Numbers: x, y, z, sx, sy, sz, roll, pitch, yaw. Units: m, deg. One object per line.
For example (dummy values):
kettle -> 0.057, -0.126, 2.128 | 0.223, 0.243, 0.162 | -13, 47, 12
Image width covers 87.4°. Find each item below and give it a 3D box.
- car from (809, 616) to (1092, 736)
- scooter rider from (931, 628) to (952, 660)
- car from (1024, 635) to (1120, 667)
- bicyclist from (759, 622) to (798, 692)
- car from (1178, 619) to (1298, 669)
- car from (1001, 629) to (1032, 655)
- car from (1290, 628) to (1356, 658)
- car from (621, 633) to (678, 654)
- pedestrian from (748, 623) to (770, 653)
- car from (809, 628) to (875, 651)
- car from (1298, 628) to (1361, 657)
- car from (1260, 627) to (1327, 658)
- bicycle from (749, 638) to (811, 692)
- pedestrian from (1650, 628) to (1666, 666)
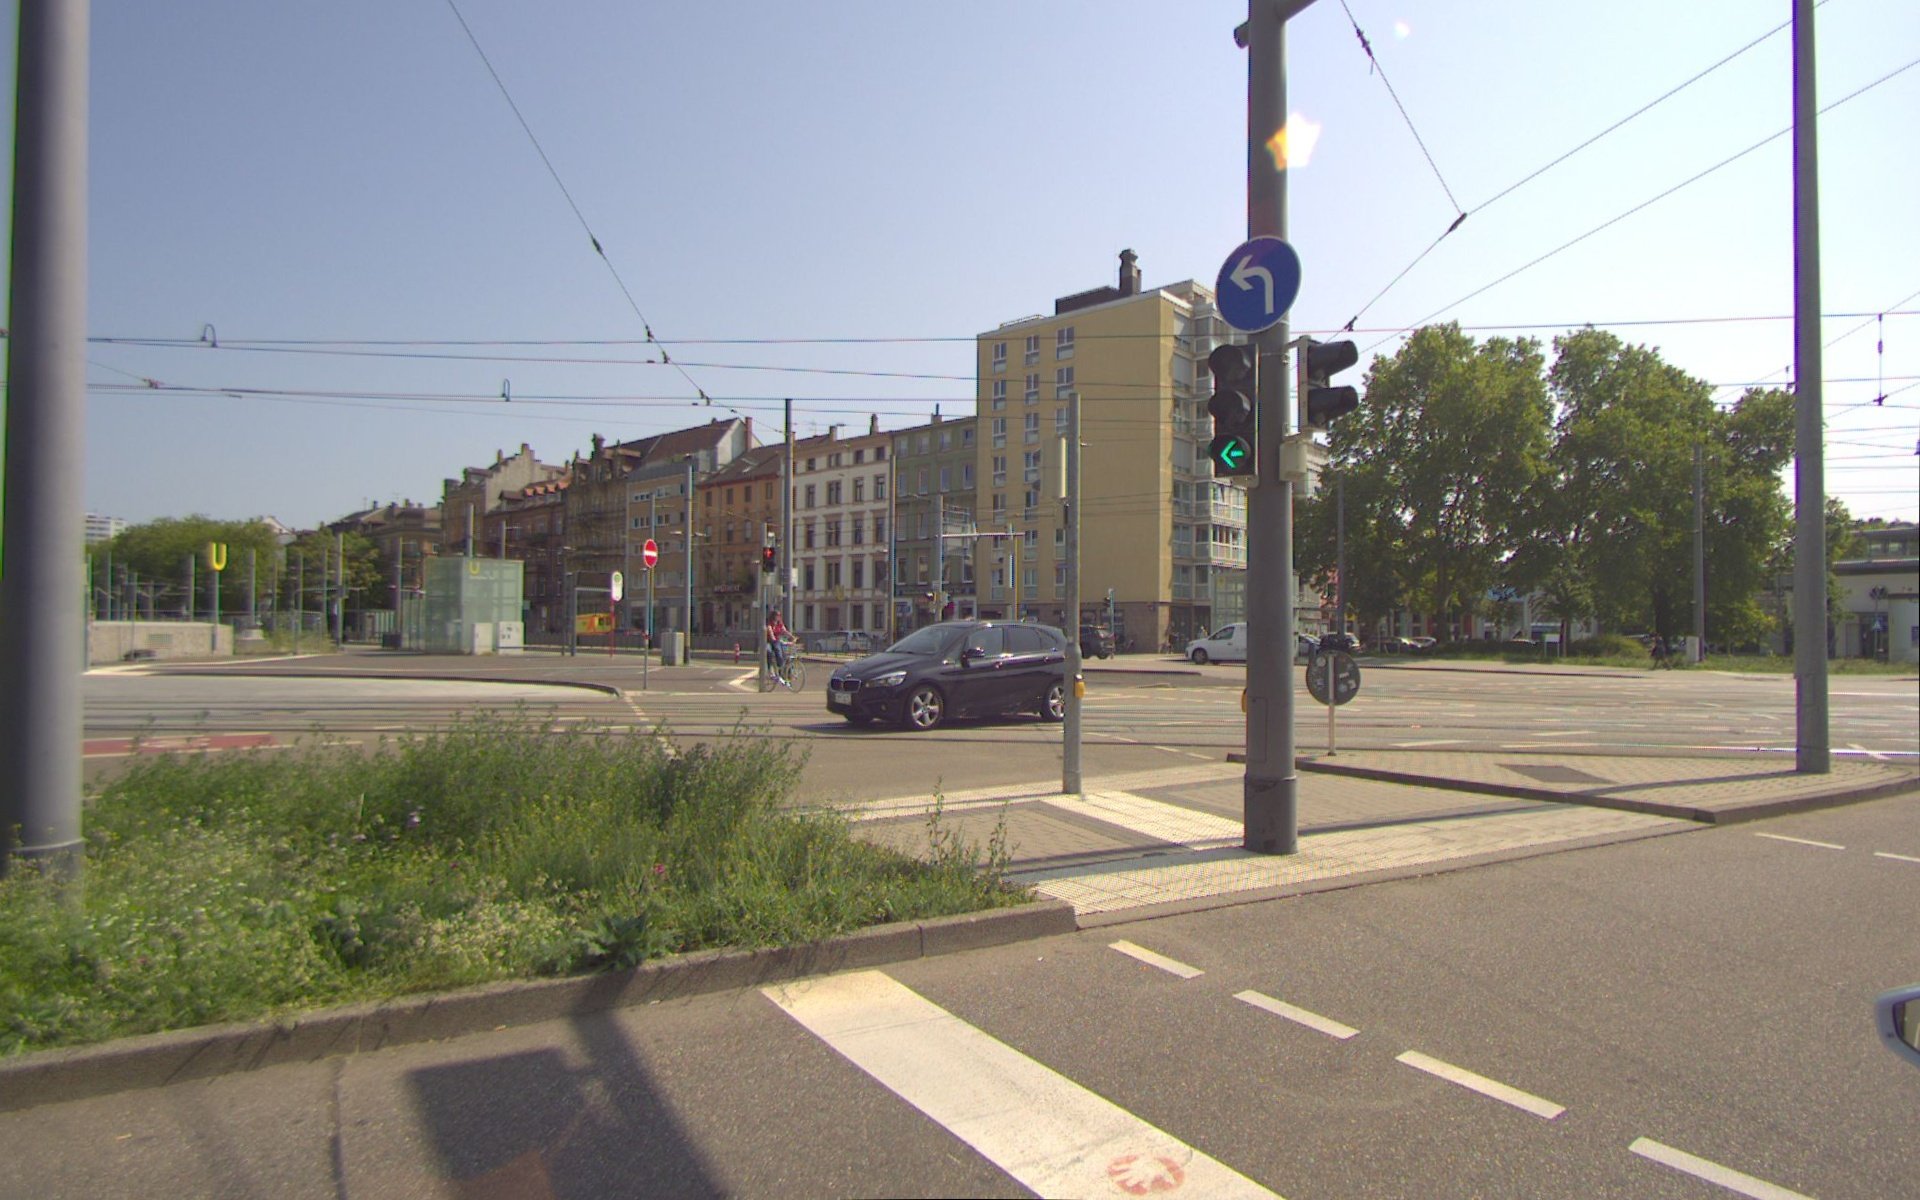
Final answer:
car -> -0.055, 1.077, 15.283 | 4.173, 1.581, 1.719 | 2, -2, -40
scooter rider -> -0.802, 1.870, 42.739 | 0.603, 1.371, 0.681 | 2, -2, -36
car -> 5.683, 2.562, 51.186 | 4.553, 1.524, 1.992 | -1, -2, 38
bicyclist -> -3.998, 1.243, 22.136 | 0.633, 1.529, 0.553 | 2, -2, -38
car -> 11.800, 1.834, 42.744 | 4.553, 2.040, 1.992 | -1, -2, 38
car -> 3.411, 2.540, 61.205 | 1.712, 1.528, 4.001 | 1, -2, 2
car -> 25.550, 3.007, 70.783 | 3.943, 2.040, 1.921 | -1, -2, 42
car -> -23.028, 3.219, 74.387 | 4.696, 1.434, 1.768 | -1, -2, 39
pedestrian -> -10.323, 1.945, 51.633 | 0.738, 1.563, 0.848 | 2, -2, -43
car -> -7.457, 2.467, 63.179 | 4.138, 1.434, 1.768 | -1, -2, 39
car -> 27.376, 3.144, 74.455 | 3.943, 2.040, 1.921 | -1, -2, 42
car -> 22.754, 2.901, 68.539 | 3.943, 2.040, 1.921 | -1, -2, 42
bicycle -> -3.971, 1.411, 22.053 | 0.499, 1.108, 1.916 | 2, -2, -37
pedestrian -> 31.239, 2.099, 44.945 | 0.546, 1.706, 0.452 | 0, -2, 40
